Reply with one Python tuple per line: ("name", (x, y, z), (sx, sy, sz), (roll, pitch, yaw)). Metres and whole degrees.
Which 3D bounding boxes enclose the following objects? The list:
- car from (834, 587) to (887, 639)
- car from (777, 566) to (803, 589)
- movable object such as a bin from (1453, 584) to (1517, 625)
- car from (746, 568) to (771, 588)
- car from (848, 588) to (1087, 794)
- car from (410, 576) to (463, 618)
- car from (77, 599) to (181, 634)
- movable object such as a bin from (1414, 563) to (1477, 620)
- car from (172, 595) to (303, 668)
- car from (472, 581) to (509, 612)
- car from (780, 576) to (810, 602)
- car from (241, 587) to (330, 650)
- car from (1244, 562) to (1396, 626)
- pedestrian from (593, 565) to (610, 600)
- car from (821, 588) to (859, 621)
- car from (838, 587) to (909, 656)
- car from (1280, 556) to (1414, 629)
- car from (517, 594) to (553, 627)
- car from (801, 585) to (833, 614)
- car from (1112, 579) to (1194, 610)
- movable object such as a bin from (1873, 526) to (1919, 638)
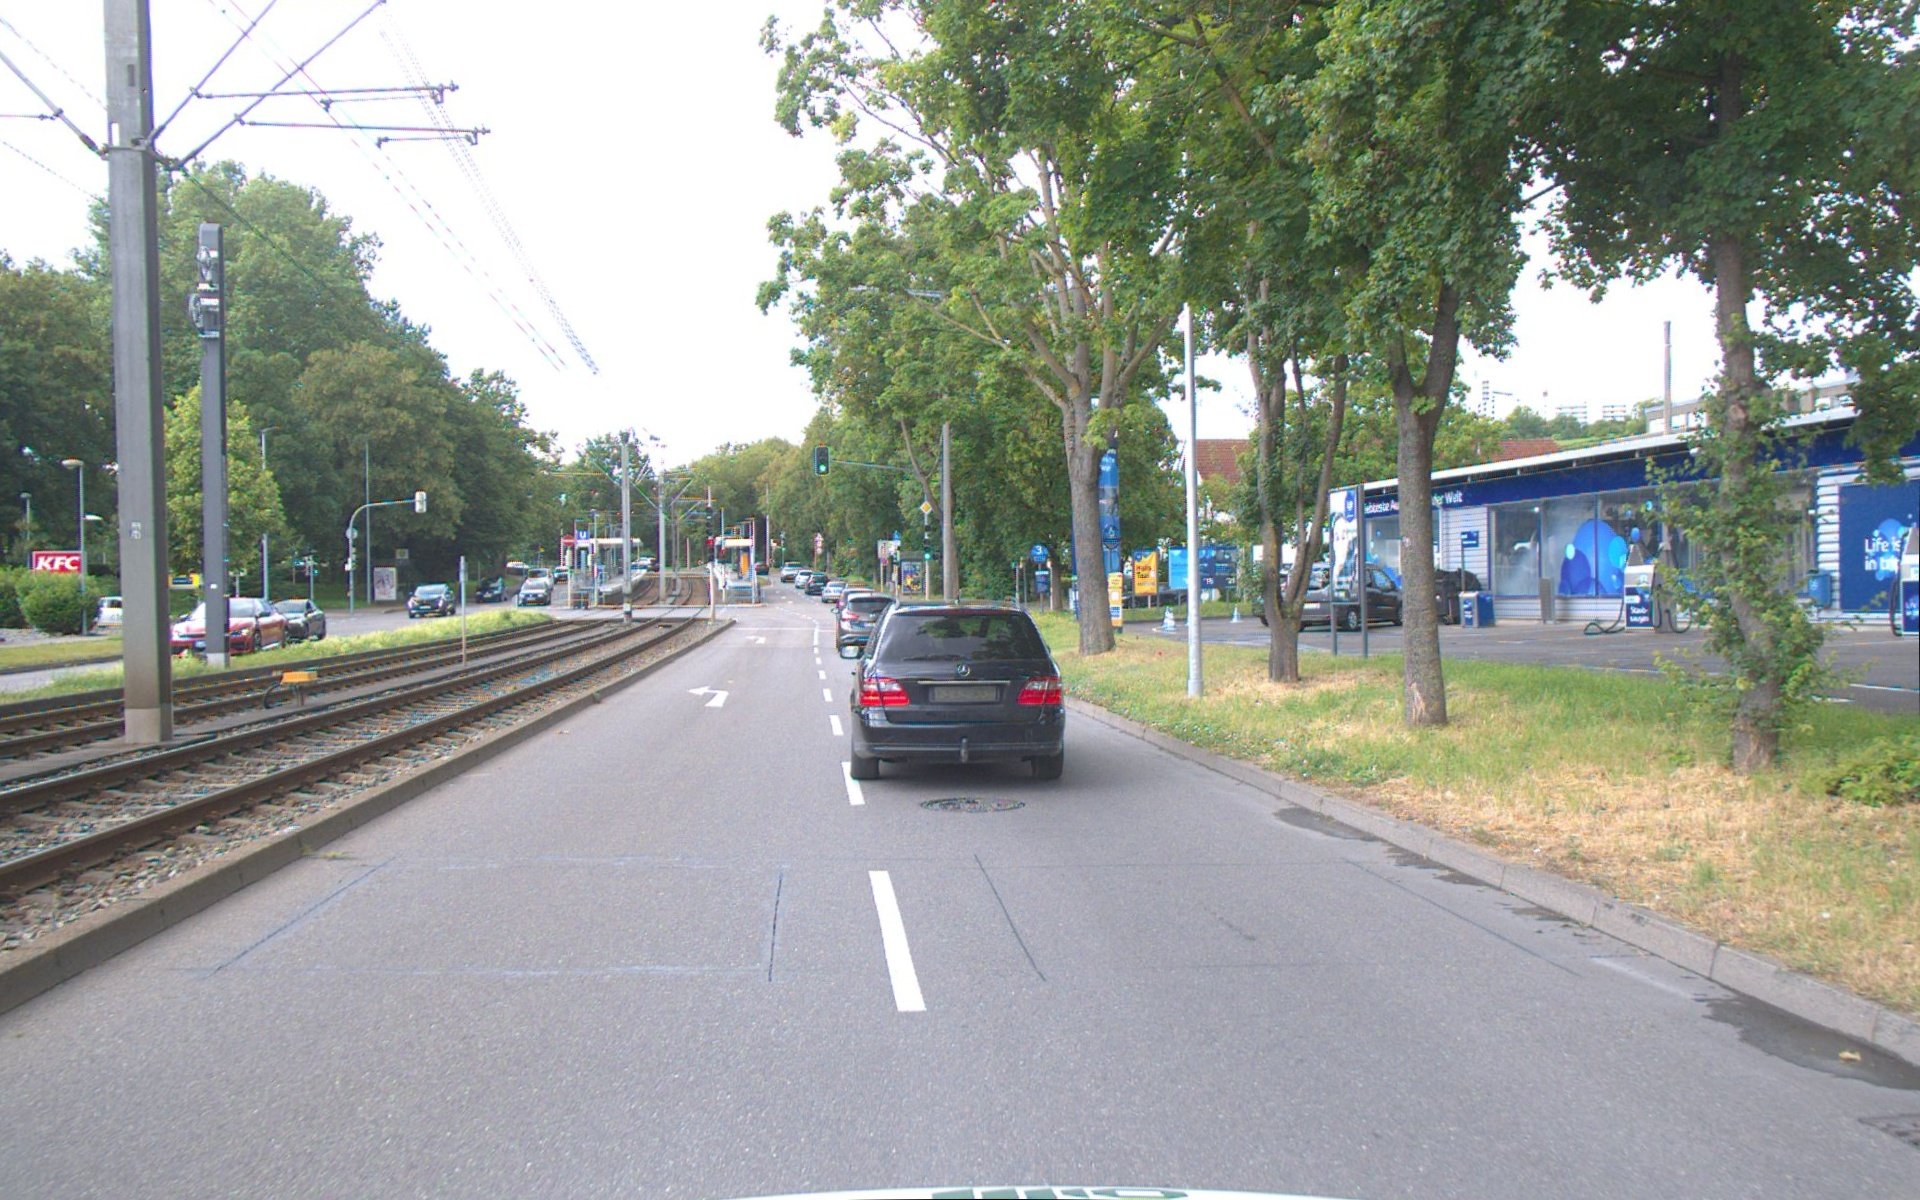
("car", (-3.424, 0.440, 57.159), (1.746, 1.677, 3.997), (1, 0, -3))
("car", (-15.857, -2.046, 153.967), (1.959, 2.049, 3.987), (1, 0, -13))
("movable object such as a bin", (13.420, 0.119, 42.285), (1.137, 0.993, 1.186), (-2, 0, -10))
("car", (-21.754, -2.333, 178.779), (1.962, 2.049, 3.981), (1, 0, -17))
("car", (-0.069, 0.683, 14.573), (1.747, 1.552, 3.996), (0, 0, -5))
("car", (-26.421, -0.148, 83.565), (1.957, 2.049, 4.237), (-1, 0, -10))
("car", (-37.891, 0.732, 75.483), (3.805, 1.432, 1.844), (-2, 0, -7))
("movable object such as a bin", (13.304, -0.233, 45.338), (1.137, 1.500, 1.384), (-2, 0, -10))
("car", (-17.646, 0.735, 40.630), (1.750, 1.609, 4.474), (-3, 0, -8))
("car", (-32.123, -0.247, 113.263), (1.957, 2.049, 4.097), (-1, 0, -10))
("car", (-13.755, -0.910, 137.419), (1.959, 2.049, 3.987), (1, 0, -13))
("car", (-22.992, 0.600, 56.528), (1.957, 2.049, 3.991), (-1, 0, -10))
("car", (10.724, -0.200, 49.280), (4.144, 1.727, 1.827), (-2, 1, -24))
("pedestrian", (-22.846, -1.110, 105.439), (0.951, 2.224, 0.974), (-1, 1, -8))
("car", (-7.355, 0.248, 101.156), (1.957, 1.926, 3.991), (1, 0, -9))
("car", (-2.264, 0.538, 43.385), (1.746, 1.677, 3.997), (1, 0, -3))
("car", (10.614, -0.225, 45.179), (1.719, 1.853, 4.360), (-1, 1, 41))
("car", (-25.351, 0.624, 98.793), (1.666, 1.893, 3.991), (1, 0, -9))
("car", (-10.416, -0.024, 120.429), (1.957, 2.001, 3.991), (1, 0, -9))
("car", (10.078, -0.289, 86.425), (4.067, 1.552, 1.704), (-1, 0, -1))
("movable object such as a bin", (16.352, -0.308, 27.737), (1.137, 1.850, 1.452), (-2, 0, -10))
